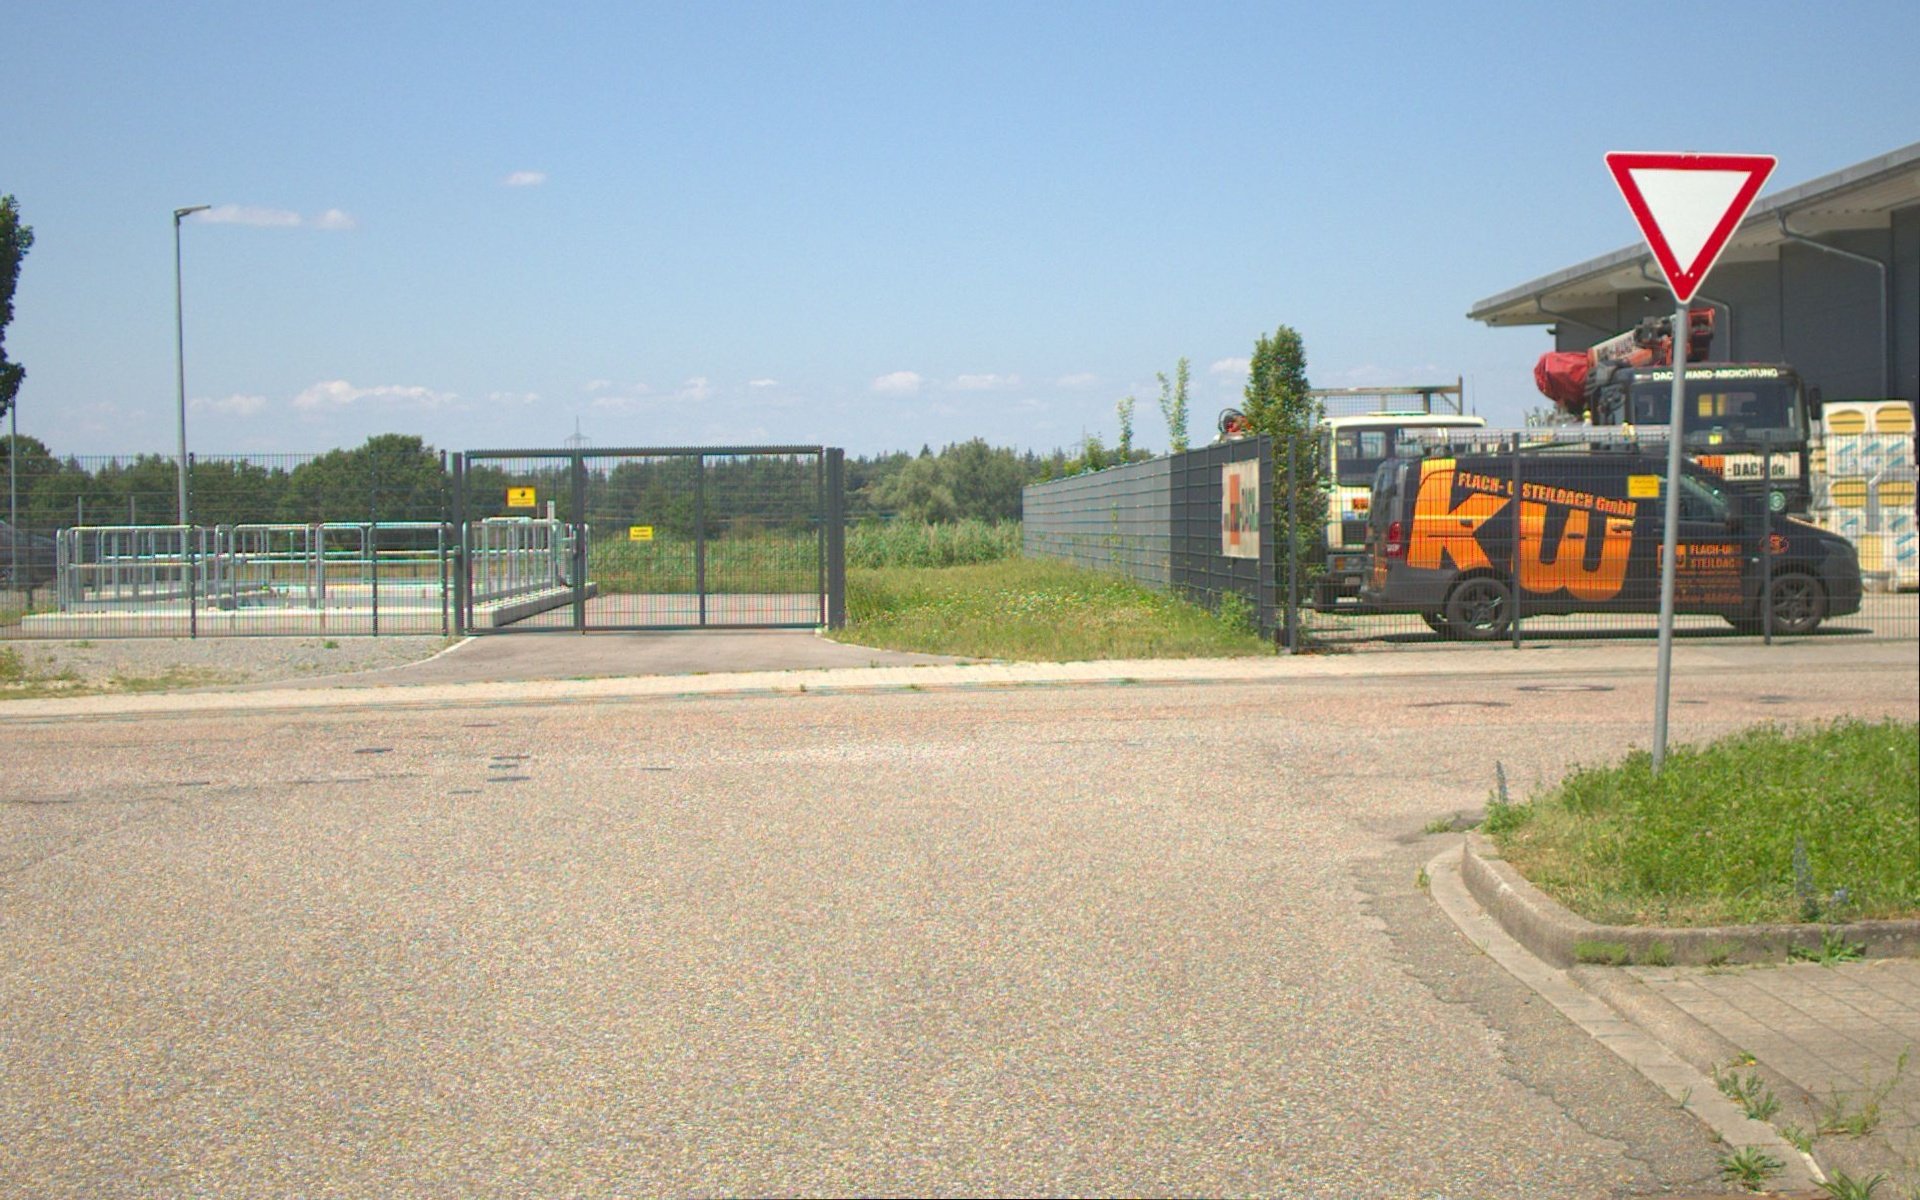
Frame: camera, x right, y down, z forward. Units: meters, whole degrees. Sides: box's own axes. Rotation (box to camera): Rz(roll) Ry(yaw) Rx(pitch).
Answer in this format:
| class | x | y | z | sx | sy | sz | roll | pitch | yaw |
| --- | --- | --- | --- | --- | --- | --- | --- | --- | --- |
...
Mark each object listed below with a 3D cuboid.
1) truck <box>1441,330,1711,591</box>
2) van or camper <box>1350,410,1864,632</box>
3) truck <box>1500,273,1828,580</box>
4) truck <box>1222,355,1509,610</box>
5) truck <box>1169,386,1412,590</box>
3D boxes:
| class | x | y | z | sx | sy | sz | roll | pitch | yaw |
| --- | --- | --- | --- | --- | --- | --- | --- | --- | --- |
| truck | 9.855 | -2.214 | 55.761 | 2.921 | 3.915 | 6.937 | -1 | 1 | -1 |
| van or camper | 6.679 | -0.848 | 35.839 | 4.936 | 2.156 | 2.000 | -1 | 2 | -1 |
| truck | 9.643 | -2.330 | 47.851 | 2.921 | 3.915 | 6.937 | -1 | 1 | -1 |
| truck | 5.187 | -1.514 | 45.172 | 2.726 | 3.051 | 6.937 | -1 | 1 | -1 |
| truck | 5.069 | -1.733 | 53.928 | 2.921 | 2.927 | 6.937 | -1 | 1 | -1 |
